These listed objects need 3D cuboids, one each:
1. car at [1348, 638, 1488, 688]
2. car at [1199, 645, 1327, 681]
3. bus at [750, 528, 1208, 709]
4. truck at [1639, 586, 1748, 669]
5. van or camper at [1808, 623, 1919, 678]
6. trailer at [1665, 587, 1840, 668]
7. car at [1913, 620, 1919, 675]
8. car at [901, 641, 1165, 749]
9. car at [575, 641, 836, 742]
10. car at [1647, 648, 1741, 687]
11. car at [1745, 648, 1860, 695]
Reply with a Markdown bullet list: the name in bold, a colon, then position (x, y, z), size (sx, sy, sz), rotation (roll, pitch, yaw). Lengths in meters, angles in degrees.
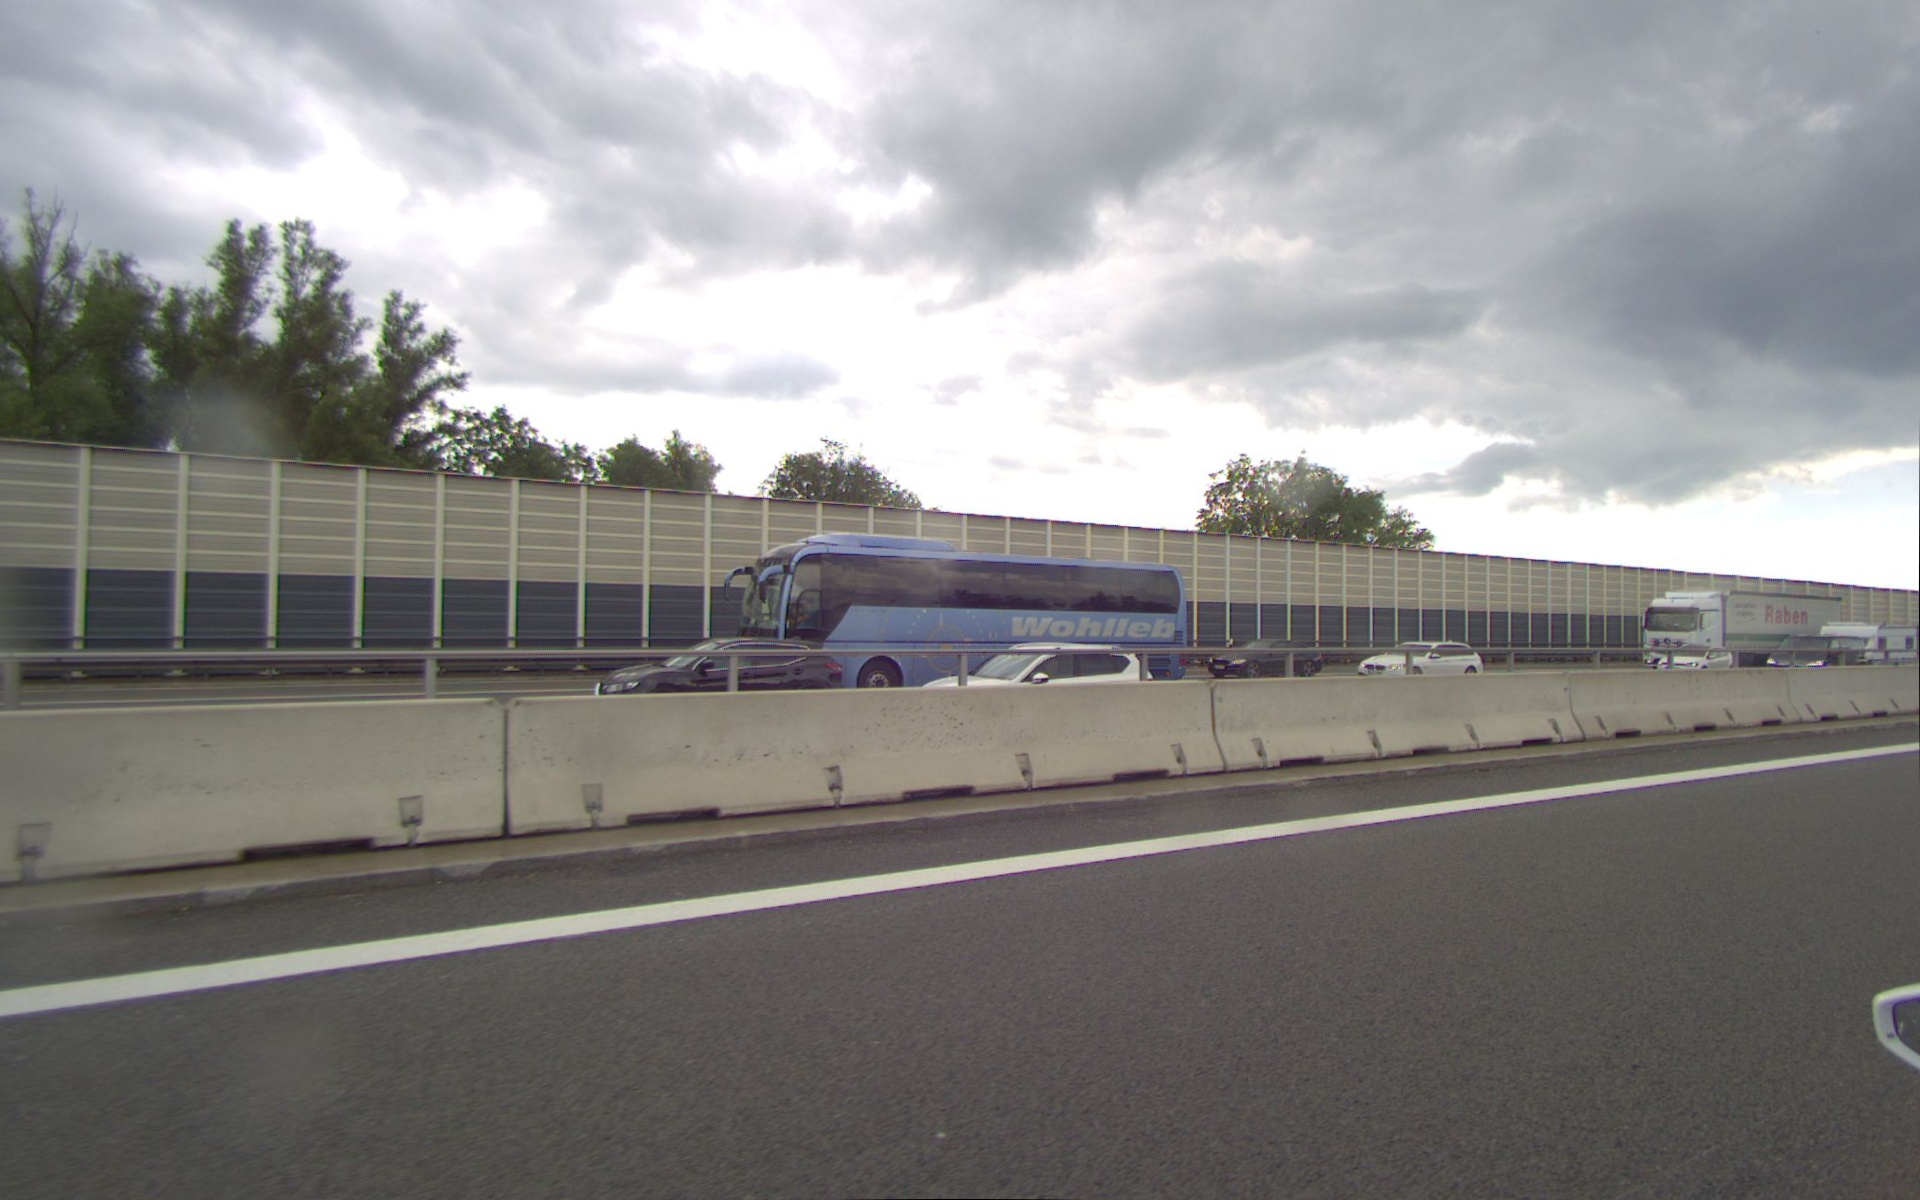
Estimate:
- **car**: position (15.293, 2.046, 33.473), size (4.764, 1.546, 1.874), rotation (1, -1, -30)
- **car**: position (10.860, 2.220, 35.918), size (4.440, 1.129, 1.874), rotation (1, -1, -30)
- **bus**: position (0.850, 0.507, 25.397), size (11.741, 3.808, 3.078), rotation (1, -1, -30)
- **truck**: position (37.074, 1.351, 50.780), size (5.115, 3.987, 2.564), rotation (1, 0, -30)
- **van or camper**: position (46.928, 2.546, 52.058), size (7.065, 2.676, 2.333), rotation (1, -1, -30)
- **trailer**: position (43.051, 1.464, 54.300), size (13.652, 3.987, 2.551), rotation (1, 0, -30)
- **car**: position (39.831, 1.869, 39.292), size (5.943, 2.098, 2.150), rotation (1, -1, -30)
- **car**: position (1.254, 1.472, 16.629), size (4.128, 1.546, 1.739), rotation (1, -1, -30)
- **car**: position (-4.416, 1.517, 17.600), size (4.128, 1.546, 1.739), rotation (1, -1, -30)
- **car**: position (31.359, 2.845, 42.893), size (4.128, 1.546, 1.739), rotation (1, -1, -30)
- **car**: position (33.723, 2.815, 40.191), size (4.745, 1.681, 2.069), rotation (1, -1, -30)
